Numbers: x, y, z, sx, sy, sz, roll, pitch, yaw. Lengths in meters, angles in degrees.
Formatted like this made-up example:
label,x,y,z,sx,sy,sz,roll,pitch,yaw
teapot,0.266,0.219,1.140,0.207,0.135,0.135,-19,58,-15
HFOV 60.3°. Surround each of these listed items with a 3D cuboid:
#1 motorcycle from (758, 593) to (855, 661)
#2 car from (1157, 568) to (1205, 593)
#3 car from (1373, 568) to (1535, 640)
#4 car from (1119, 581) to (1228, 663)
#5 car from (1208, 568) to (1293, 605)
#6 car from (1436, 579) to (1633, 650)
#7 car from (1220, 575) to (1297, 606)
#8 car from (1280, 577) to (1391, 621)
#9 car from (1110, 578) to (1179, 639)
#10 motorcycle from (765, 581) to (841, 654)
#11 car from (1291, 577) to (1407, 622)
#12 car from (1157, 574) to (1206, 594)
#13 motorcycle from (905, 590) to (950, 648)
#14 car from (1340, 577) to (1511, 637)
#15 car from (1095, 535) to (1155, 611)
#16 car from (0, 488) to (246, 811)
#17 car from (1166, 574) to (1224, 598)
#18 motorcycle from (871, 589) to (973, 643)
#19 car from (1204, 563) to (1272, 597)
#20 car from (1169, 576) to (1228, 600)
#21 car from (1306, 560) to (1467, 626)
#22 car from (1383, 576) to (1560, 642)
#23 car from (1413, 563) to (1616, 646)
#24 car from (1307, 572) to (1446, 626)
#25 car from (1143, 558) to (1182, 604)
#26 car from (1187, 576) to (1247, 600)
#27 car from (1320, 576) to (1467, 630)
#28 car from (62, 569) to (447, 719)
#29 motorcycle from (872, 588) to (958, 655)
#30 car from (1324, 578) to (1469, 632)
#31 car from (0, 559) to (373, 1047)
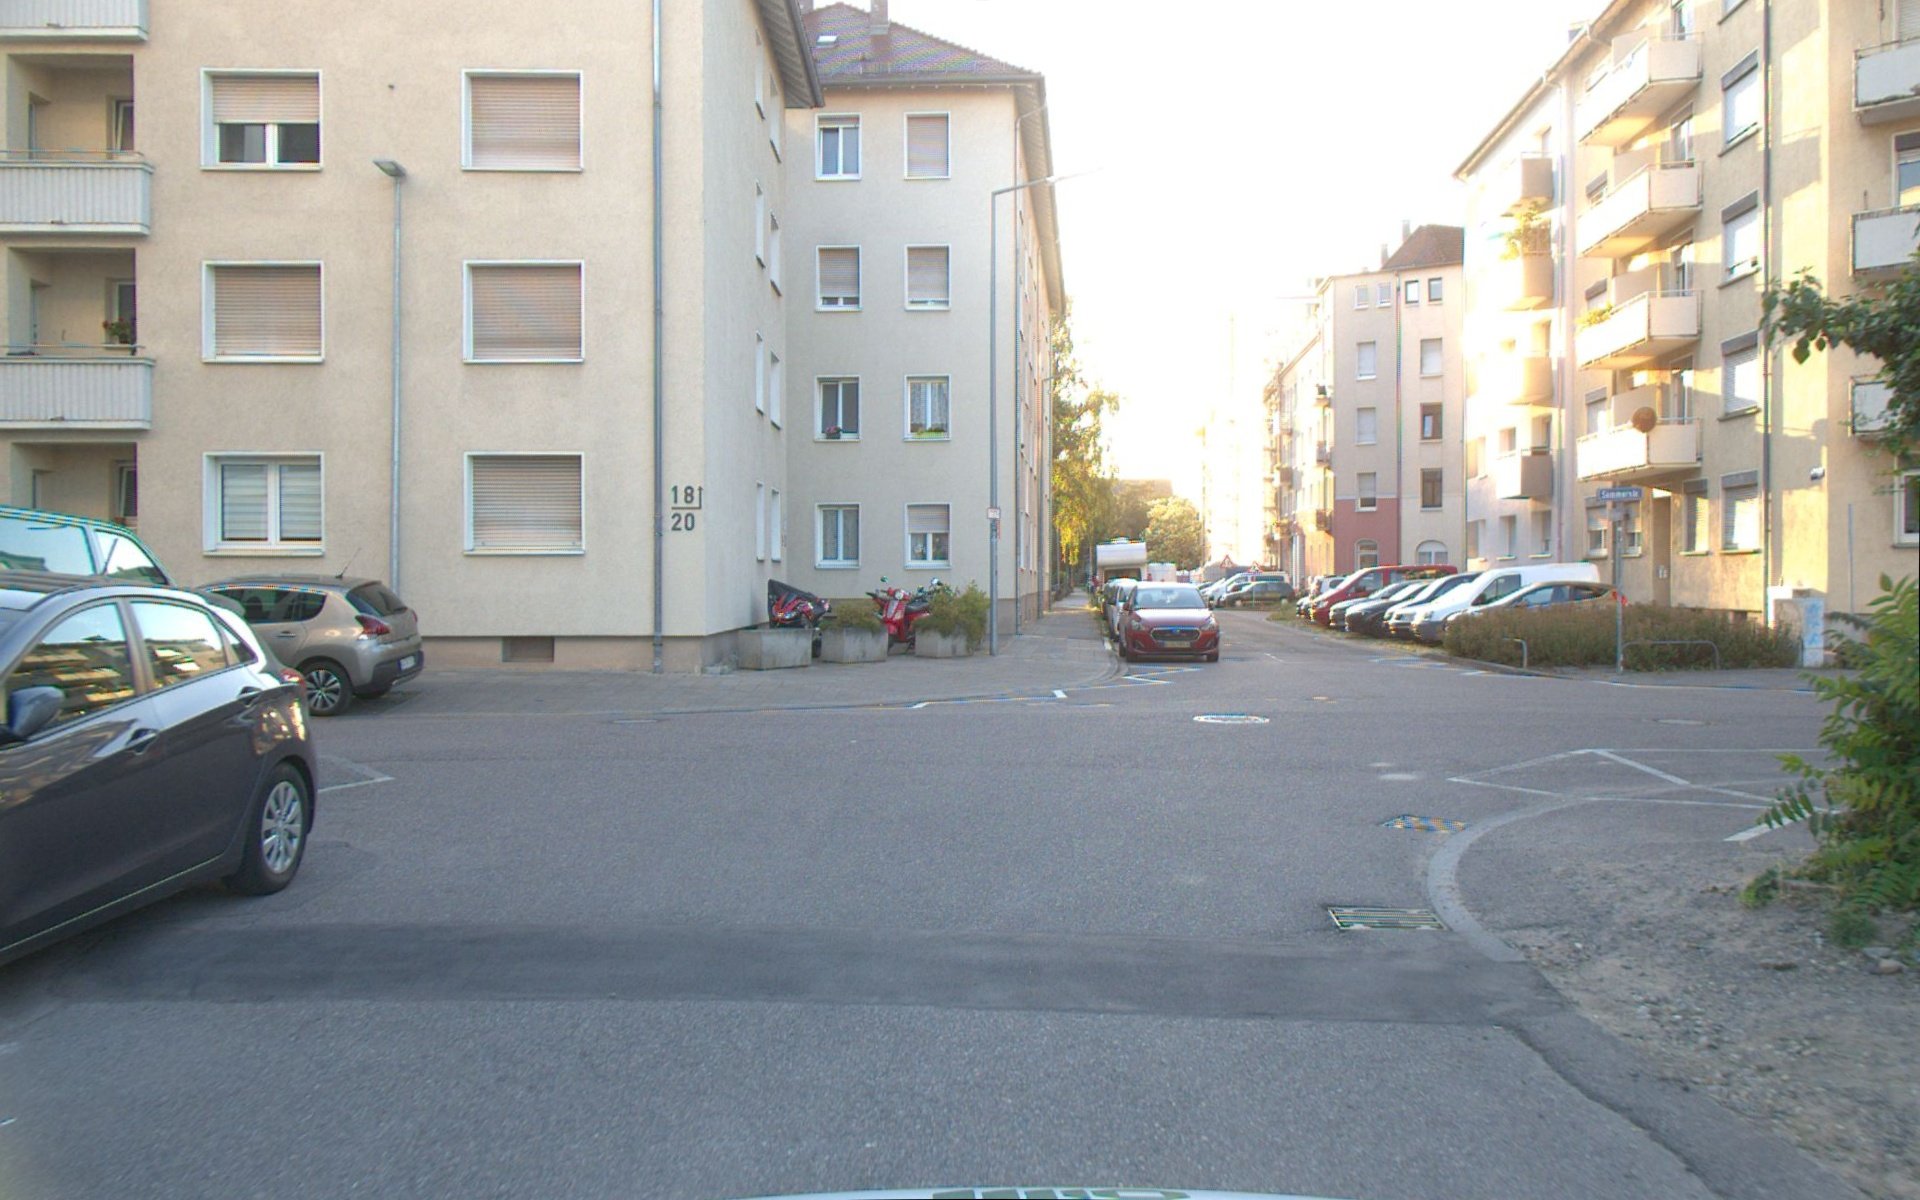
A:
label,x,y,z,sx,sy,sz,roll,pitch,yaw
motorcycle,-2.589,0.435,28.178,0.709,1.098,2.079,0,1,25
car,22.983,-2.065,172.125,4.712,2.450,1.740,-1,0,4
car,12.765,0.099,42.911,3.711,1.725,1.656,-2,0,5
car,4.118,0.386,32.462,1.806,1.499,4.080,0,1,3
car,16.872,-0.768,96.261,4.712,2.002,1.740,-1,0,4
car,12.540,0.301,36.277,3.790,1.518,1.742,0,0,5
car,16.058,-0.503,89.194,3.903,1.557,1.660,-1,1,4
car,13.749,-0.038,60.764,3.731,1.453,1.635,-2,0,4
car,4.866,0.196,43.891,1.582,1.499,3.506,-2,0,3
motorcycle,-2.873,0.296,30.480,0.708,1.287,2.082,0,1,15
car,13.671,-0.008,58.246,3.731,1.453,1.635,-2,0,4
car,18.504,-1.317,138.319,3.903,1.557,1.660,-1,1,4
motorcycle,-0.631,0.361,32.853,0.667,1.098,2.036,0,1,6
car,12.647,0.197,45.094,4.218,1.475,1.656,-2,0,5
car,7.705,-1.256,77.672,2.564,3.326,7.701,-2,0,5
car,-6.843,0.313,11.378,1.761,2.014,4.689,0,0,1
car,16.692,-1.011,117.660,3.903,1.557,1.660,-1,1,4
motorcycle,-0.809,0.339,35.125,2.078,1.124,0.561,0,0,16
car,17.182,-1.214,102.287,3.905,2.049,2.000,0,0,1
car,16.658,-0.822,115.690,3.903,1.557,1.660,-1,1,4
car,13.599,-0.217,52.954,4.623,1.943,2.060,-2,0,4
car,12.513,0.214,40.660,3.872,1.548,1.707,-1,0,5
car,12.840,0.102,38.474,4.189,1.893,1.742,0,0,5
car,14.019,-0.045,55.847,4.233,1.666,1.819,-2,0,4
car,12.813,-1.186,104.976,2.084,2.764,4.835,-2,0,3
car,17.531,-0.808,113.127,3.903,1.557,1.660,-1,1,4
car,13.160,0.096,50.401,4.058,1.496,1.637,-2,0,4
car,-8.670,0.510,20.613,3.925,1.645,1.882,0,5,-1
motorcycle,-0.820,0.375,30.623,0.675,1.180,2.031,0,1,28
car,12.689,0.144,48.209,3.794,1.441,1.637,-2,0,3
car,-3.912,0.629,6.179,1.743,1.504,4.332,3,1,1
